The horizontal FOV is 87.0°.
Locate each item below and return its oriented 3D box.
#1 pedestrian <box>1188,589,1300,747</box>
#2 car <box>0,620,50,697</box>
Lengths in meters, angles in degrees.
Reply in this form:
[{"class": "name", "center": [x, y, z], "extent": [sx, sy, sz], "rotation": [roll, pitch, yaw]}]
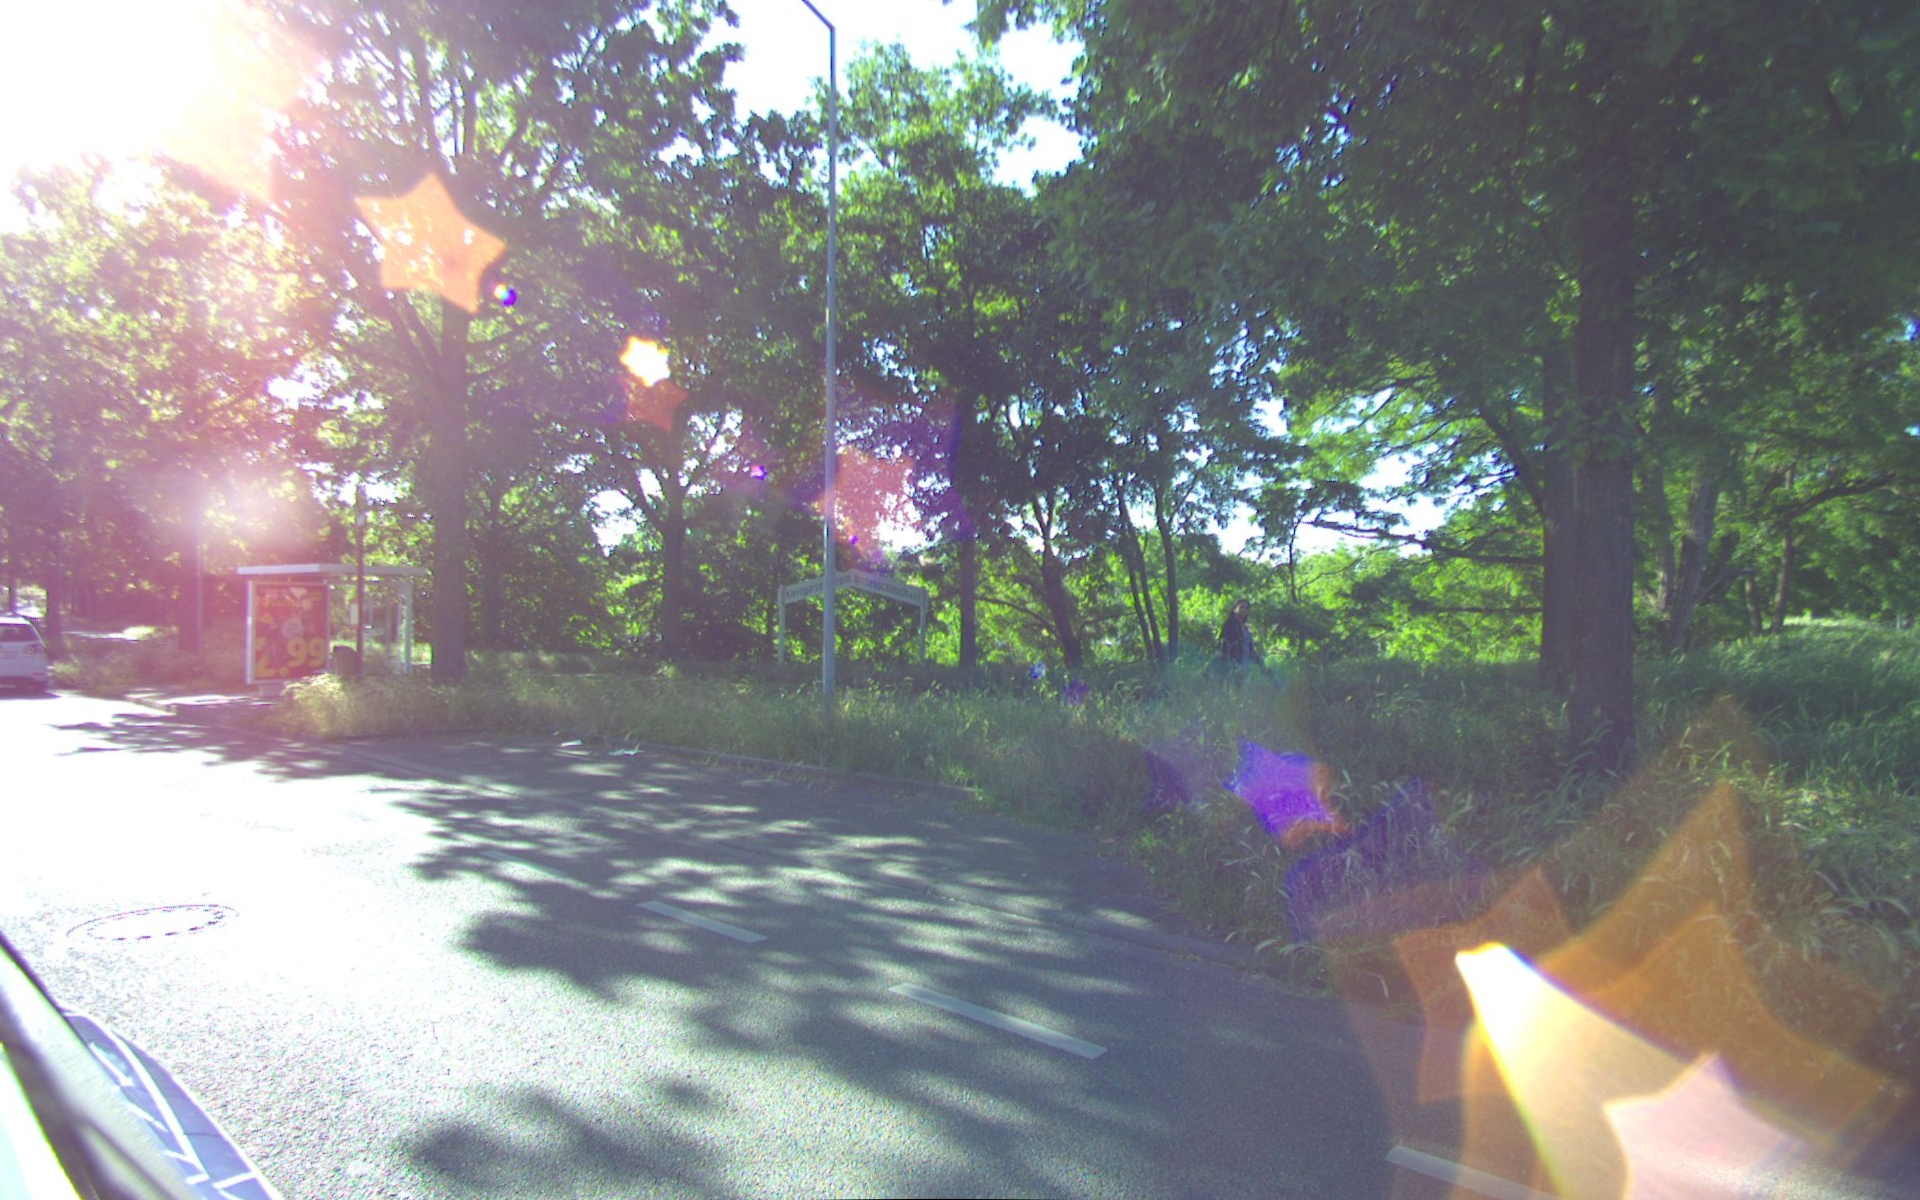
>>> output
[{"class": "pedestrian", "center": [3.229, 0.734, 11.502], "extent": [0.891, 1.701, 0.903], "rotation": [-2, -1, 42]}, {"class": "car", "center": [-21.180, 1.244, 21.818], "extent": [4.117, 1.575, 1.734], "rotation": [-2, -4, 40]}]
